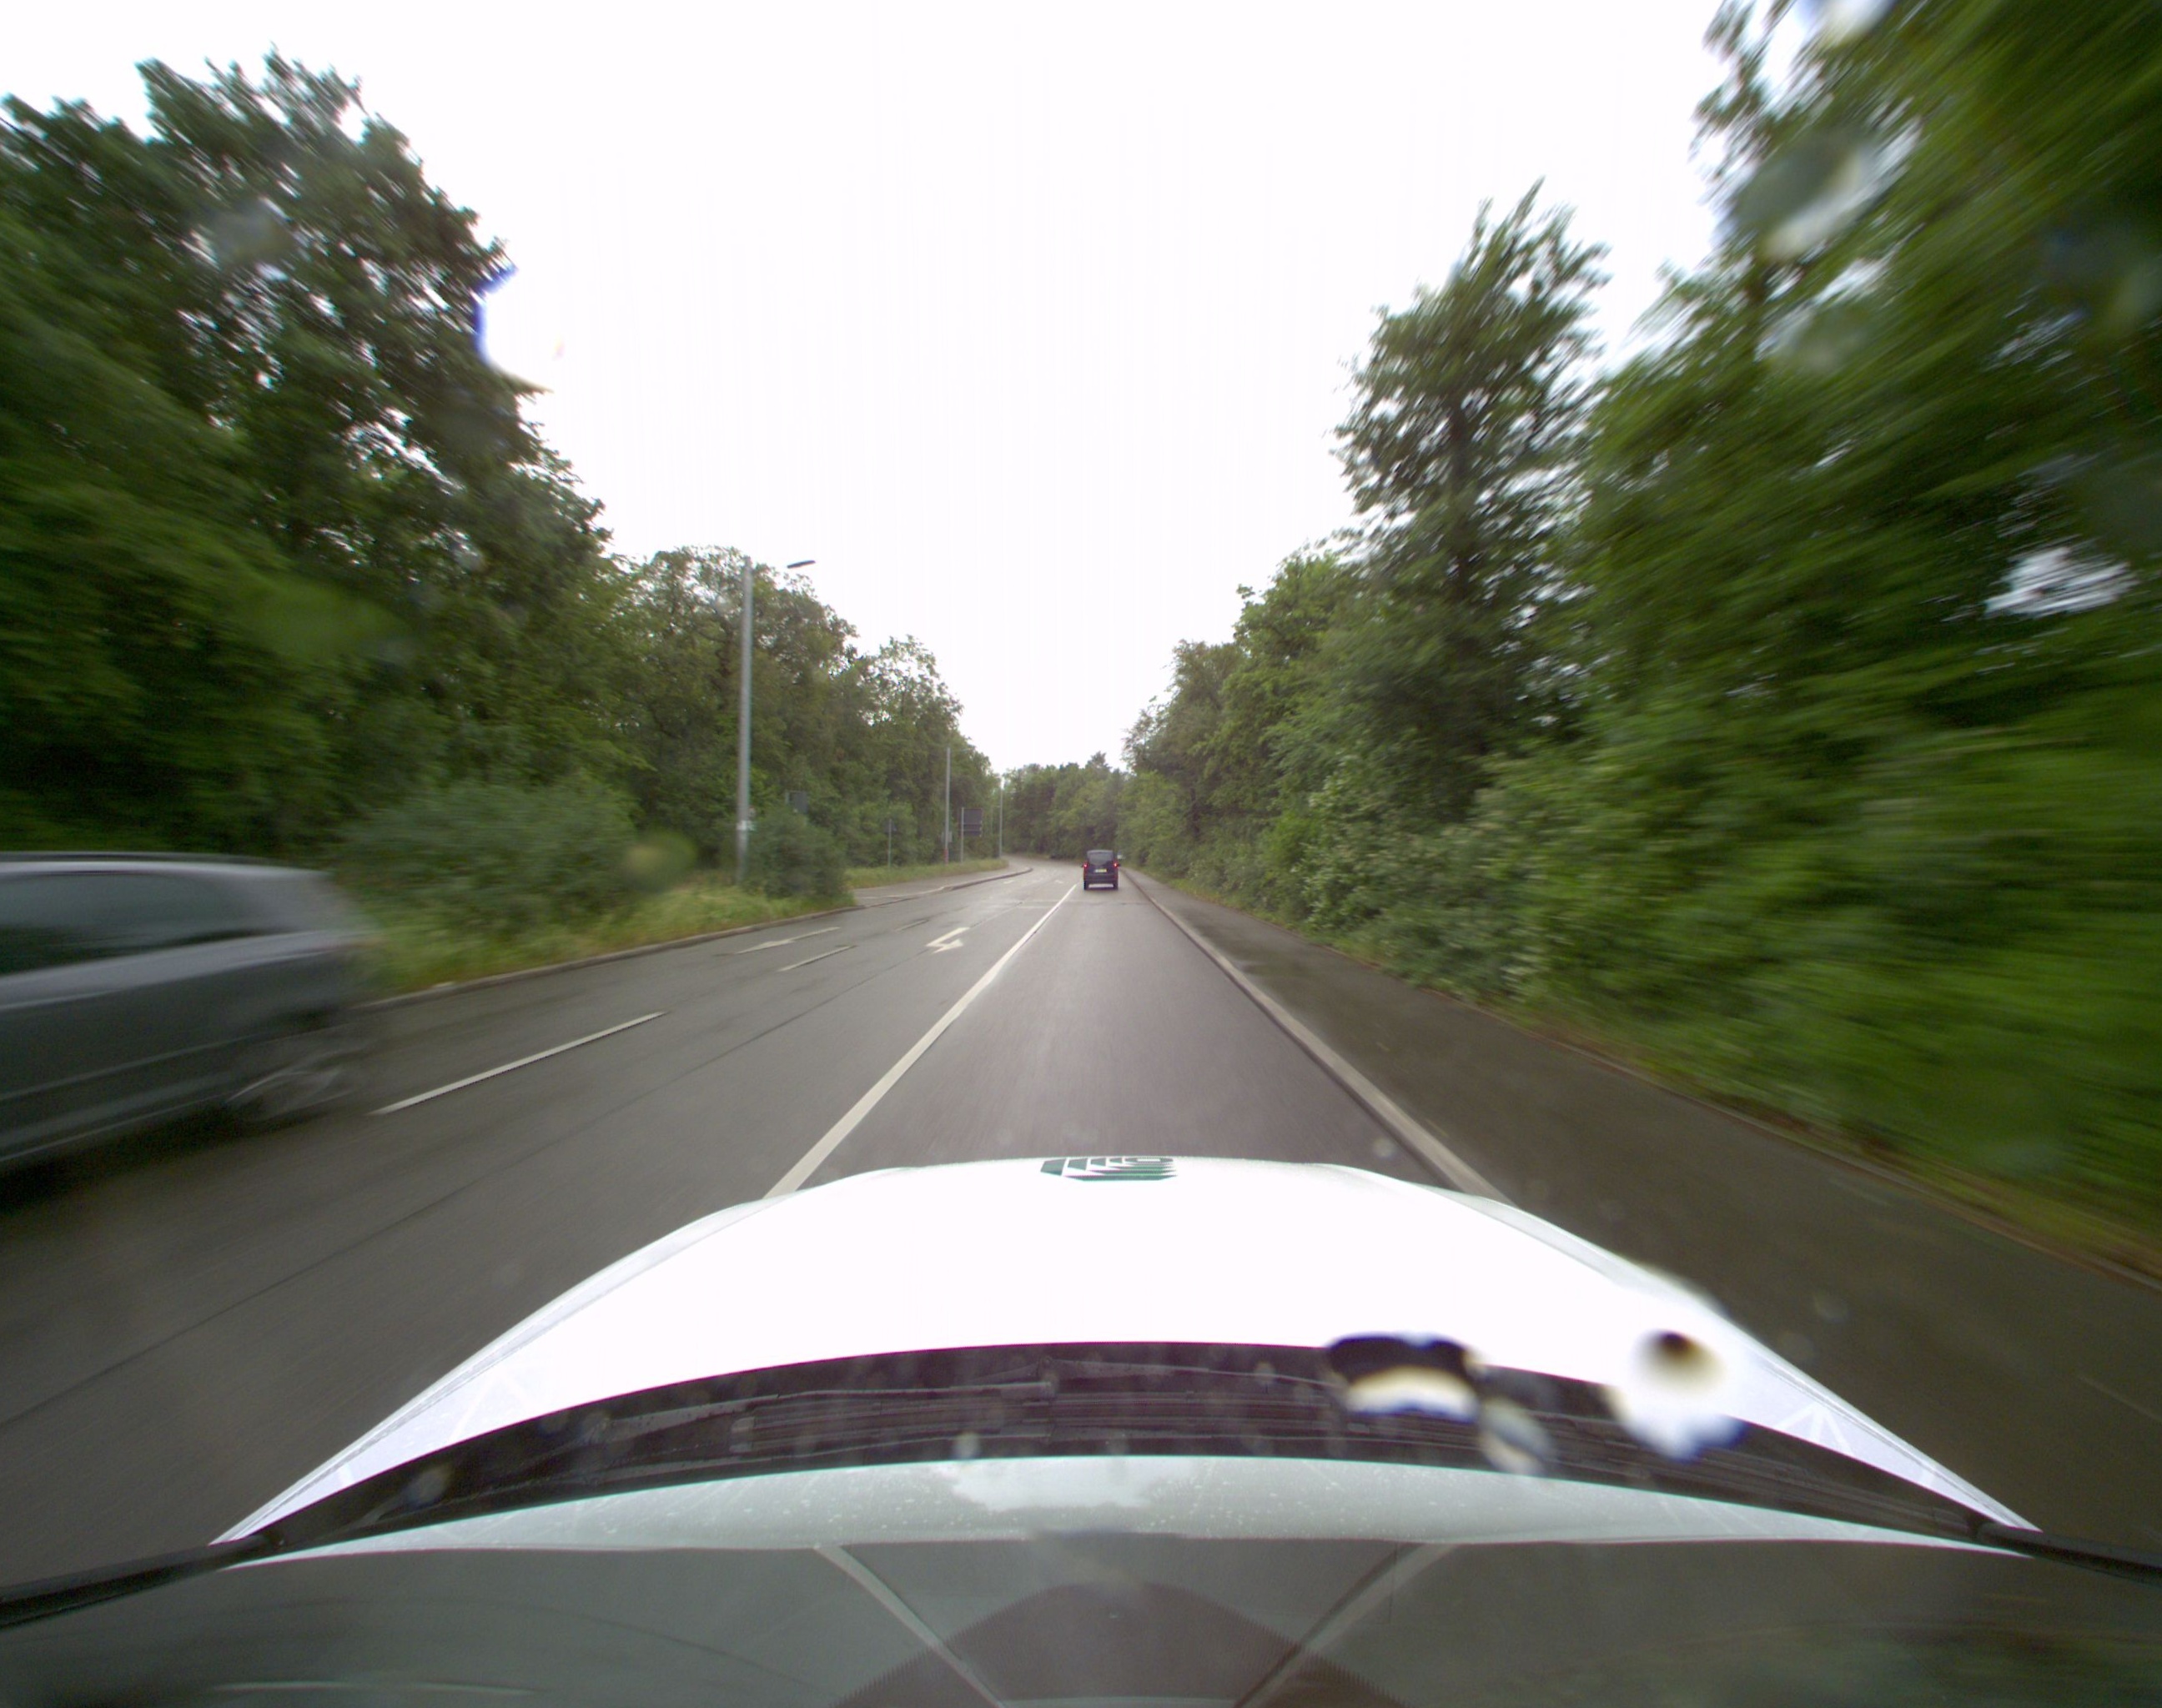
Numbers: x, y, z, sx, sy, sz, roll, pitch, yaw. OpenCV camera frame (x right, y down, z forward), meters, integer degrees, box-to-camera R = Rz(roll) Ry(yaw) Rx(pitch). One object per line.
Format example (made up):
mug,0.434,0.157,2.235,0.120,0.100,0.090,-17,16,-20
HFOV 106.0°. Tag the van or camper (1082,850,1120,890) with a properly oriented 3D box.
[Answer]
van or camper,0.956,0.751,39.407,1.707,1.826,4.000,-1,0,1

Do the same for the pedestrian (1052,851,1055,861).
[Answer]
pedestrian,-4.889,0.354,143.560,0.490,1.870,0.677,0,0,-12

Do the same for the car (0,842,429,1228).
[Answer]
car,-5.374,0.747,3.480,1.765,1.610,4.085,0,0,2
